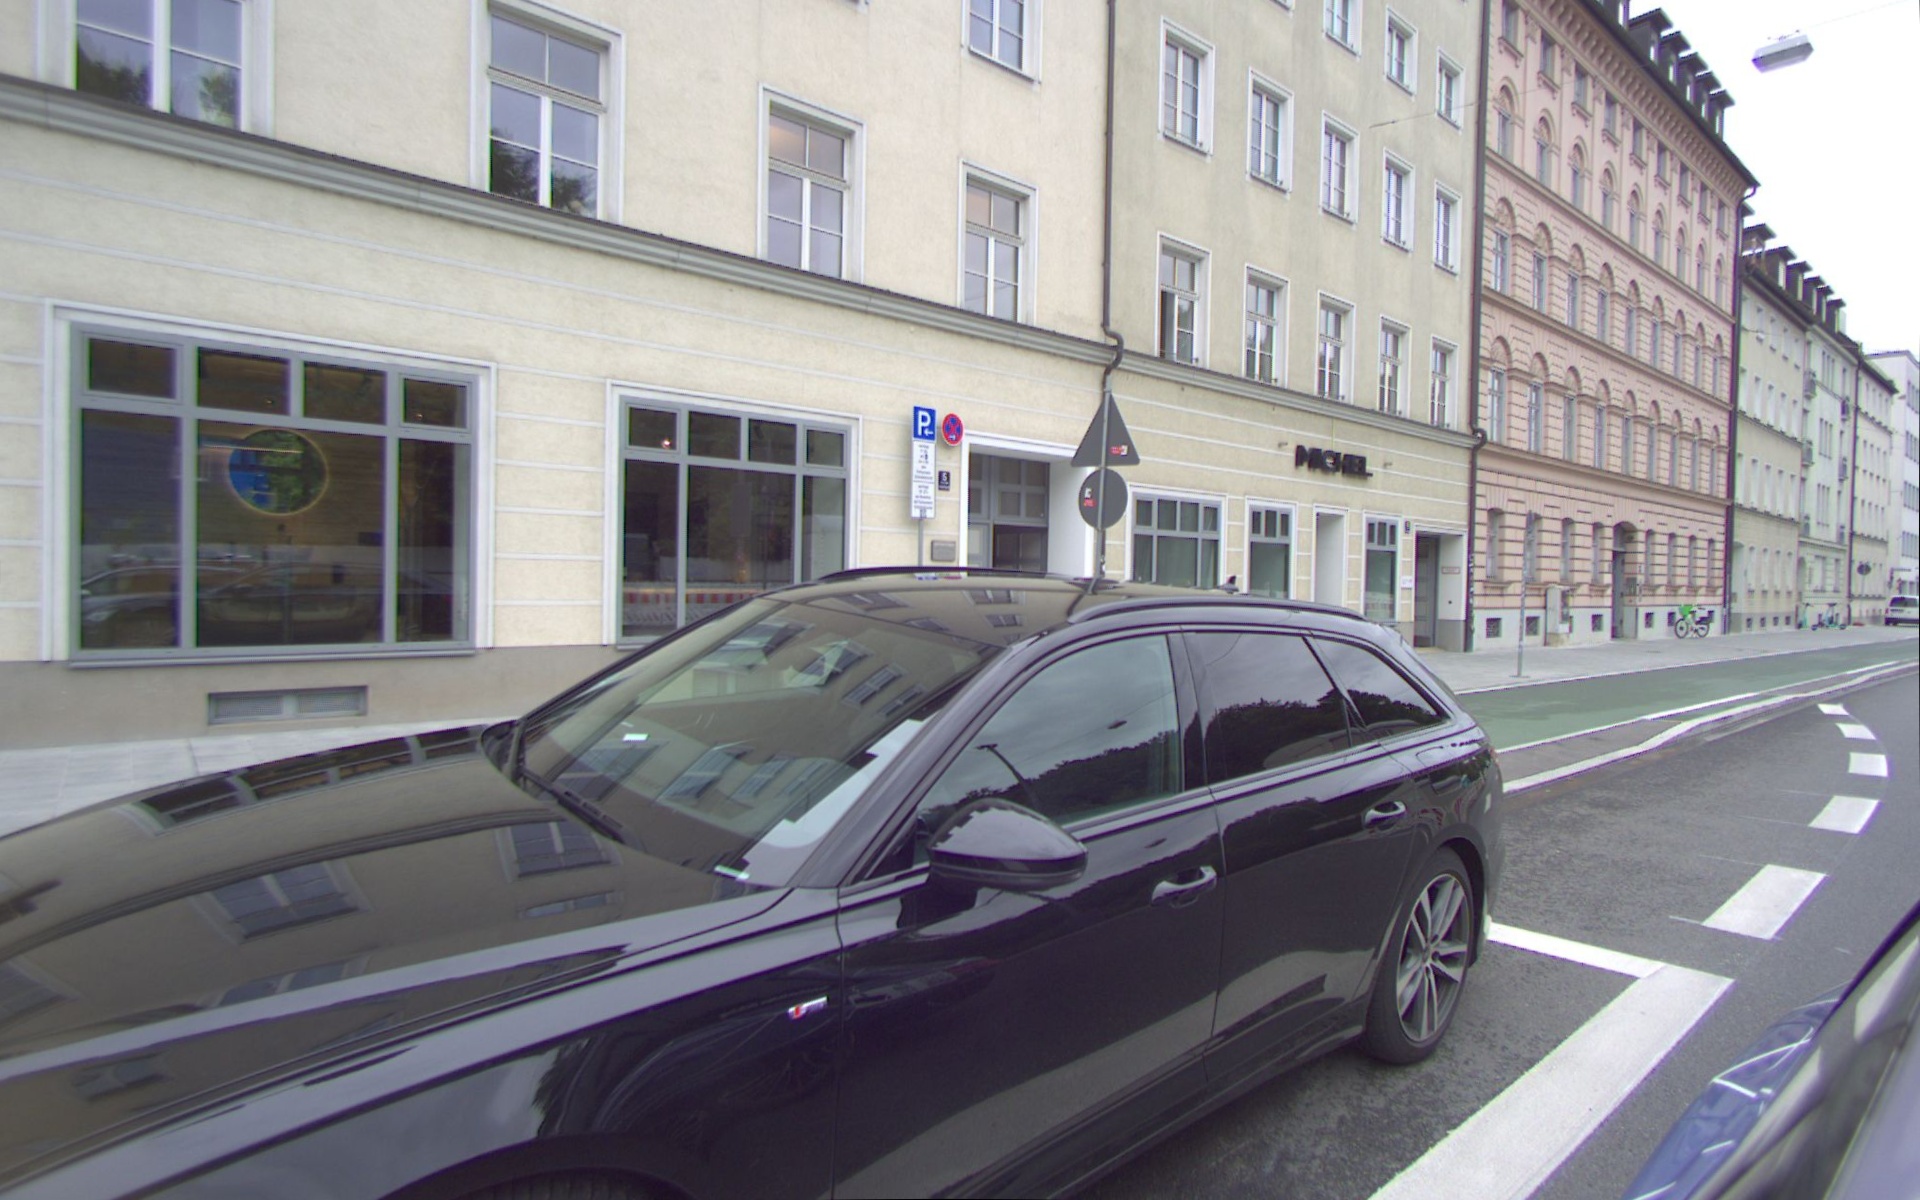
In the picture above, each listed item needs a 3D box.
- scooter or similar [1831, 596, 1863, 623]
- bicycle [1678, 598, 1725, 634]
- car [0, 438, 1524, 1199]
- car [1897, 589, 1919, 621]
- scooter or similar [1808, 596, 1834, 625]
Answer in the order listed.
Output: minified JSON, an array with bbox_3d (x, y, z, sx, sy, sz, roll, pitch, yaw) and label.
[{"bbox_3d":[42.592,0.462,48.597,1.105,1.246,0.246,3,2,18],"label":"scooter or similar"},{"bbox_3d":[24.914,0.531,33.992,1.695,1.188,0.428,1,1,-23],"label":"bicycle"},{"bbox_3d":[-0.347,0.594,2.592,4.607,1.498,1.804,0,1,-43],"label":"car"},{"bbox_3d":[56.511,0.326,59.334,4.356,1.771,1.737,1,2,-40],"label":"car"},{"bbox_3d":[38.893,0.479,45.715,1.096,1.246,0.248,1,2,-14],"label":"scooter or similar"}]
